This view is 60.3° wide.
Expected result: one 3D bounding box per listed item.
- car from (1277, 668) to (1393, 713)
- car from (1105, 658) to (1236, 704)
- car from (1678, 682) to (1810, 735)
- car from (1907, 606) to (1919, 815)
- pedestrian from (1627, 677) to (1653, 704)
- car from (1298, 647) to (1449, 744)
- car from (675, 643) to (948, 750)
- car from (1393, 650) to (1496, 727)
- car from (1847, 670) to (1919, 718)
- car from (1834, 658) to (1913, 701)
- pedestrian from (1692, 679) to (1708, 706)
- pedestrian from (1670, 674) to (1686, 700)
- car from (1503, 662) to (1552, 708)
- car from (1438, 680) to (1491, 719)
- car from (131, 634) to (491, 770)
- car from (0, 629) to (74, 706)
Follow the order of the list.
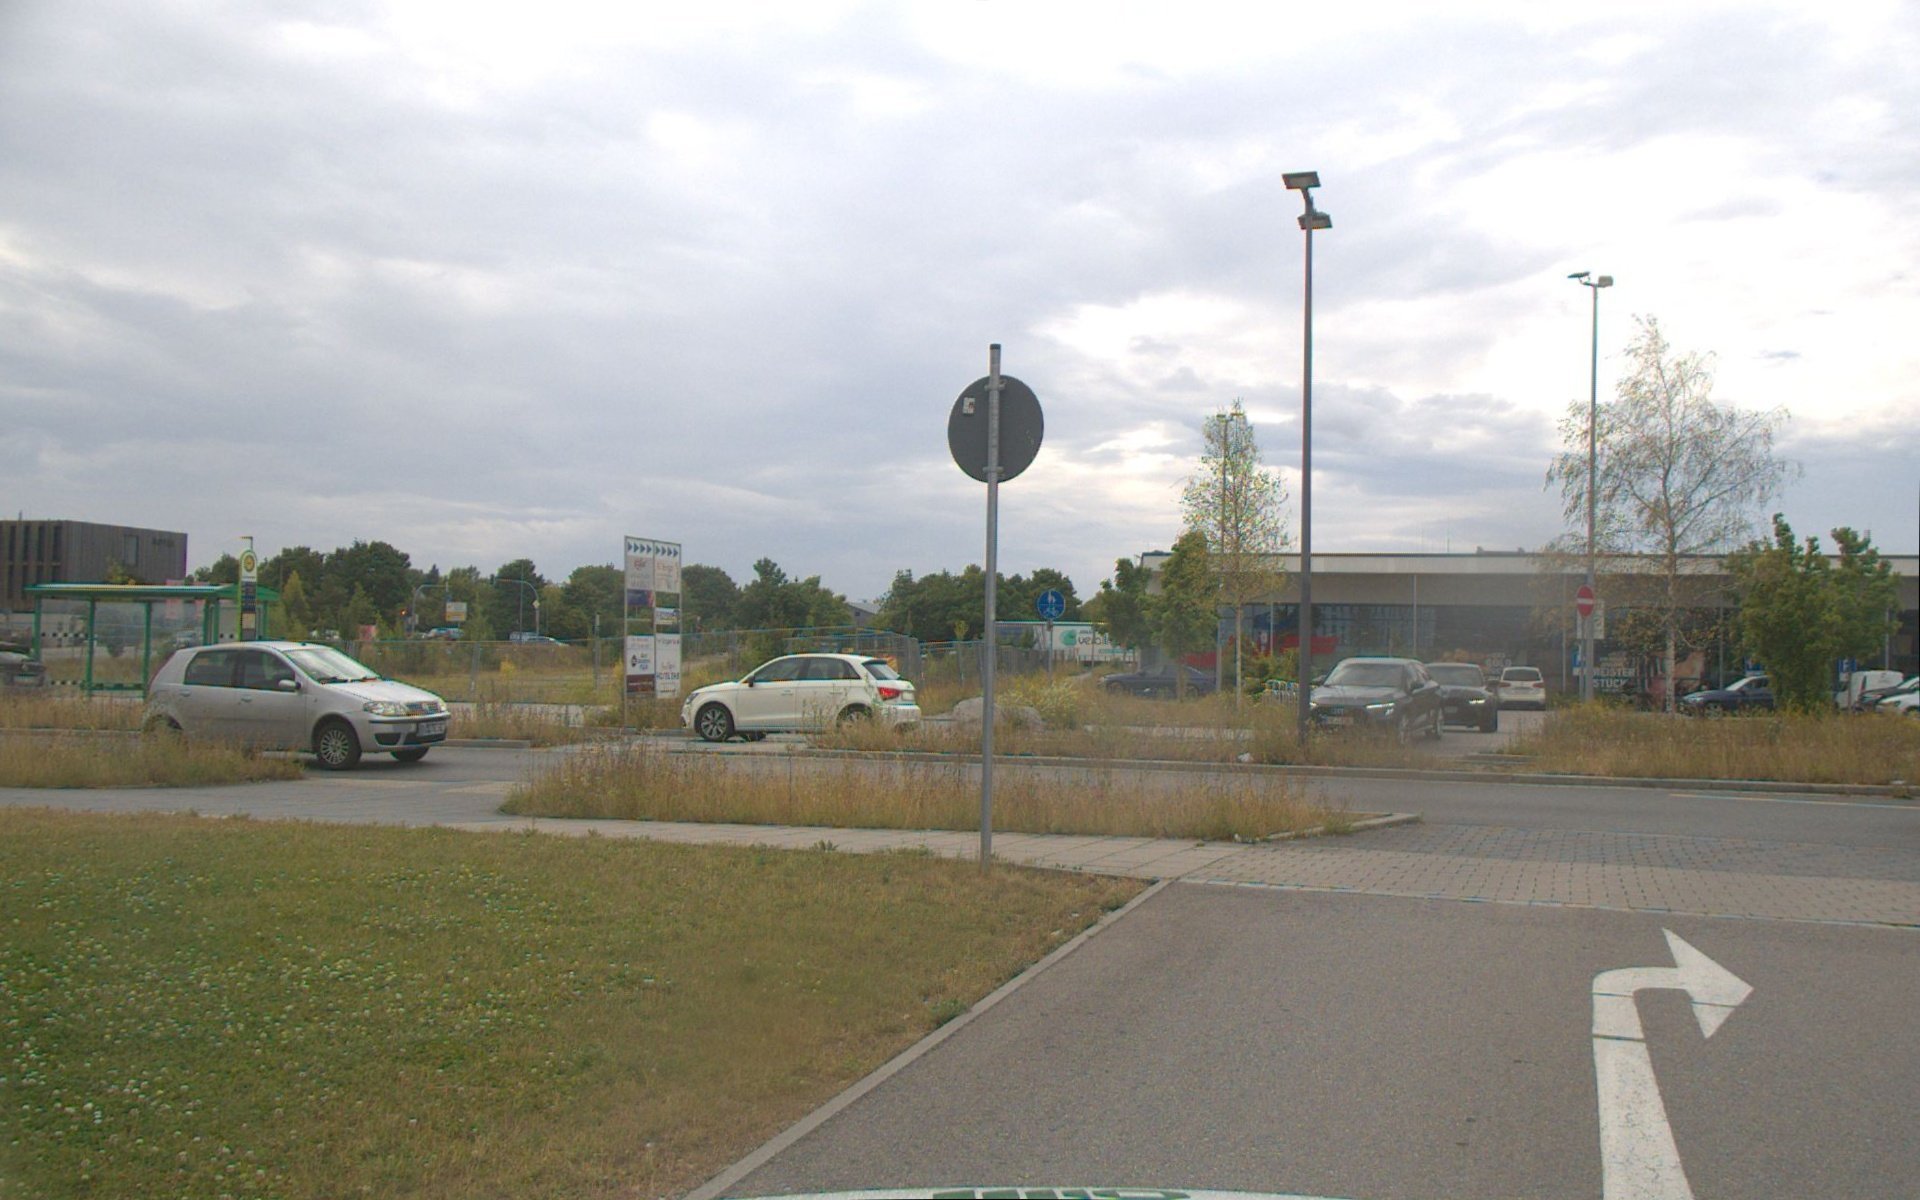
[{"bbox_3d":[13.211,3.170,58.180,3.902,1.376,2.001,2,-2,15],"label":"car"},{"bbox_3d":[8.364,3.213,65.582,4.901,1.585,2.001,2,-2,13],"label":"car"},{"bbox_3d":[24.560,3.393,51.923,3.531,1.480,1.668,1,-2,17],"label":"car"},{"bbox_3d":[11.040,1.081,14.263,4.735,1.957,1.999,2,-2,24],"label":"car"},{"bbox_3d":[30.352,4.022,73.800,0.950,1.175,1.133,1,-2,16],"label":"pedestrian"},{"bbox_3d":[7.257,1.619,28.731,1.756,1.492,4.317,1,-2,25],"label":"car"},{"bbox_3d":[-2.356,1.525,26.584,3.957,1.507,1.759,2,-3,16],"label":"car"},{"bbox_3d":[10.325,1.876,35.035,1.743,1.471,4.609,1,-3,21],"label":"car"},{"bbox_3d":[30.906,3.052,53.492,3.668,1.480,1.668,1,-2,18],"label":"car"},{"bbox_3d":[34.660,3.001,62.852,1.952,1.534,4.000,1,-2,19],"label":"car"},{"bbox_3d":[32.039,4.013,71.601,0.564,1.144,0.562,1,-2,14],"label":"pedestrian"},{"bbox_3d":[31.663,3.842,72.963,0.564,1.144,0.562,1,-2,14],"label":"pedestrian"},{"bbox_3d":[22.818,3.378,66.385,1.786,1.730,4.234,1,-1,20],"label":"car"},{"bbox_3d":[20.475,4.003,67.017,1.867,1.469,4.000,1,-2,20],"label":"car"},{"bbox_3d":[-7.930,1.214,20.333,3.723,1.487,1.802,1,-2,14],"label":"car"},{"bbox_3d":[-18.923,1.191,30.940,3.965,1.366,1.719,2,-2,14],"label":"car"}]
